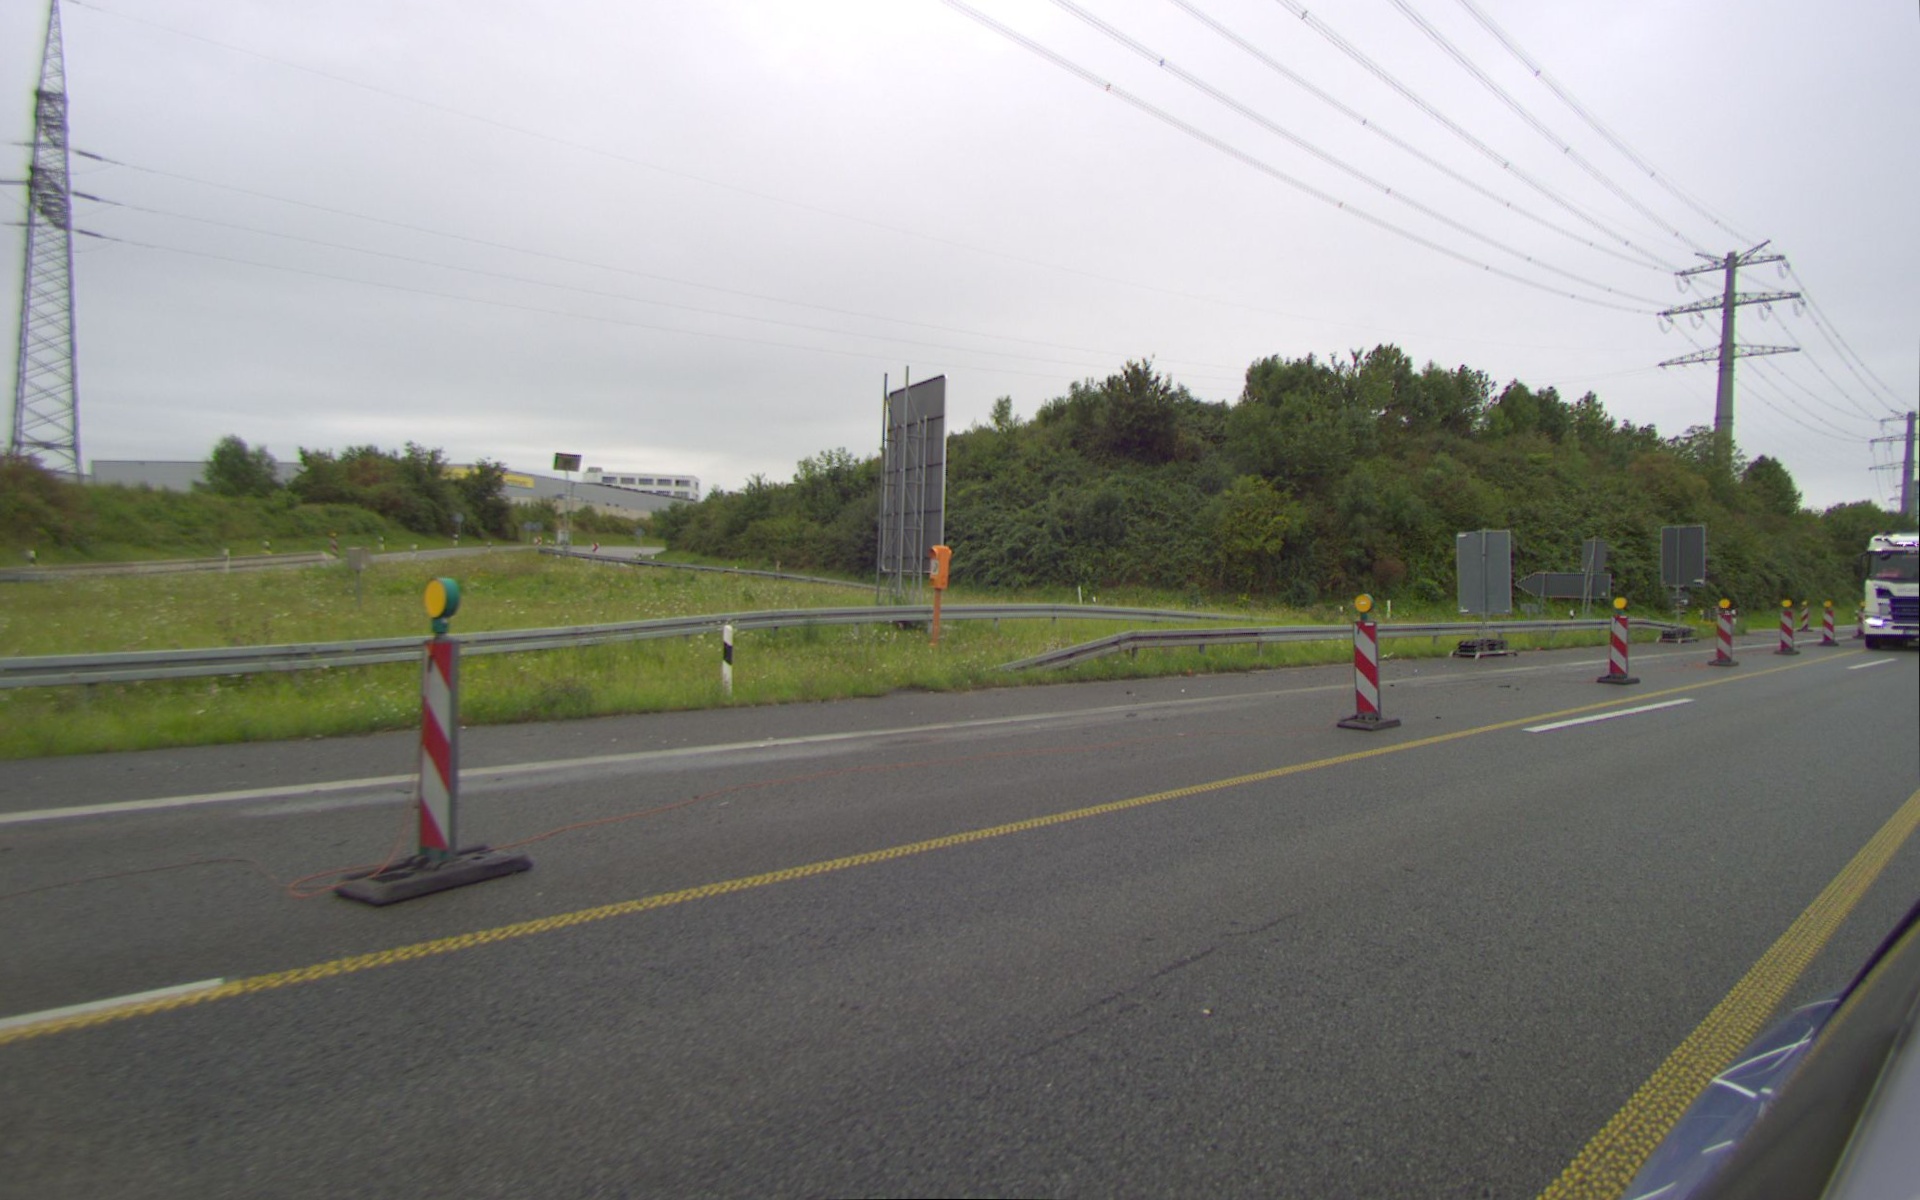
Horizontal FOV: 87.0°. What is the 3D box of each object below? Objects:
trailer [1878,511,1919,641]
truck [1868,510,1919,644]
[{"bbox_3d":[35.488,-0.834,35.912,13.905,4.053,2.806,-1,1,-42],"label":"trailer"},{"bbox_3d":[30.744,-0.723,31.763,5.304,3.984,2.745,-1,1,-41],"label":"truck"}]
